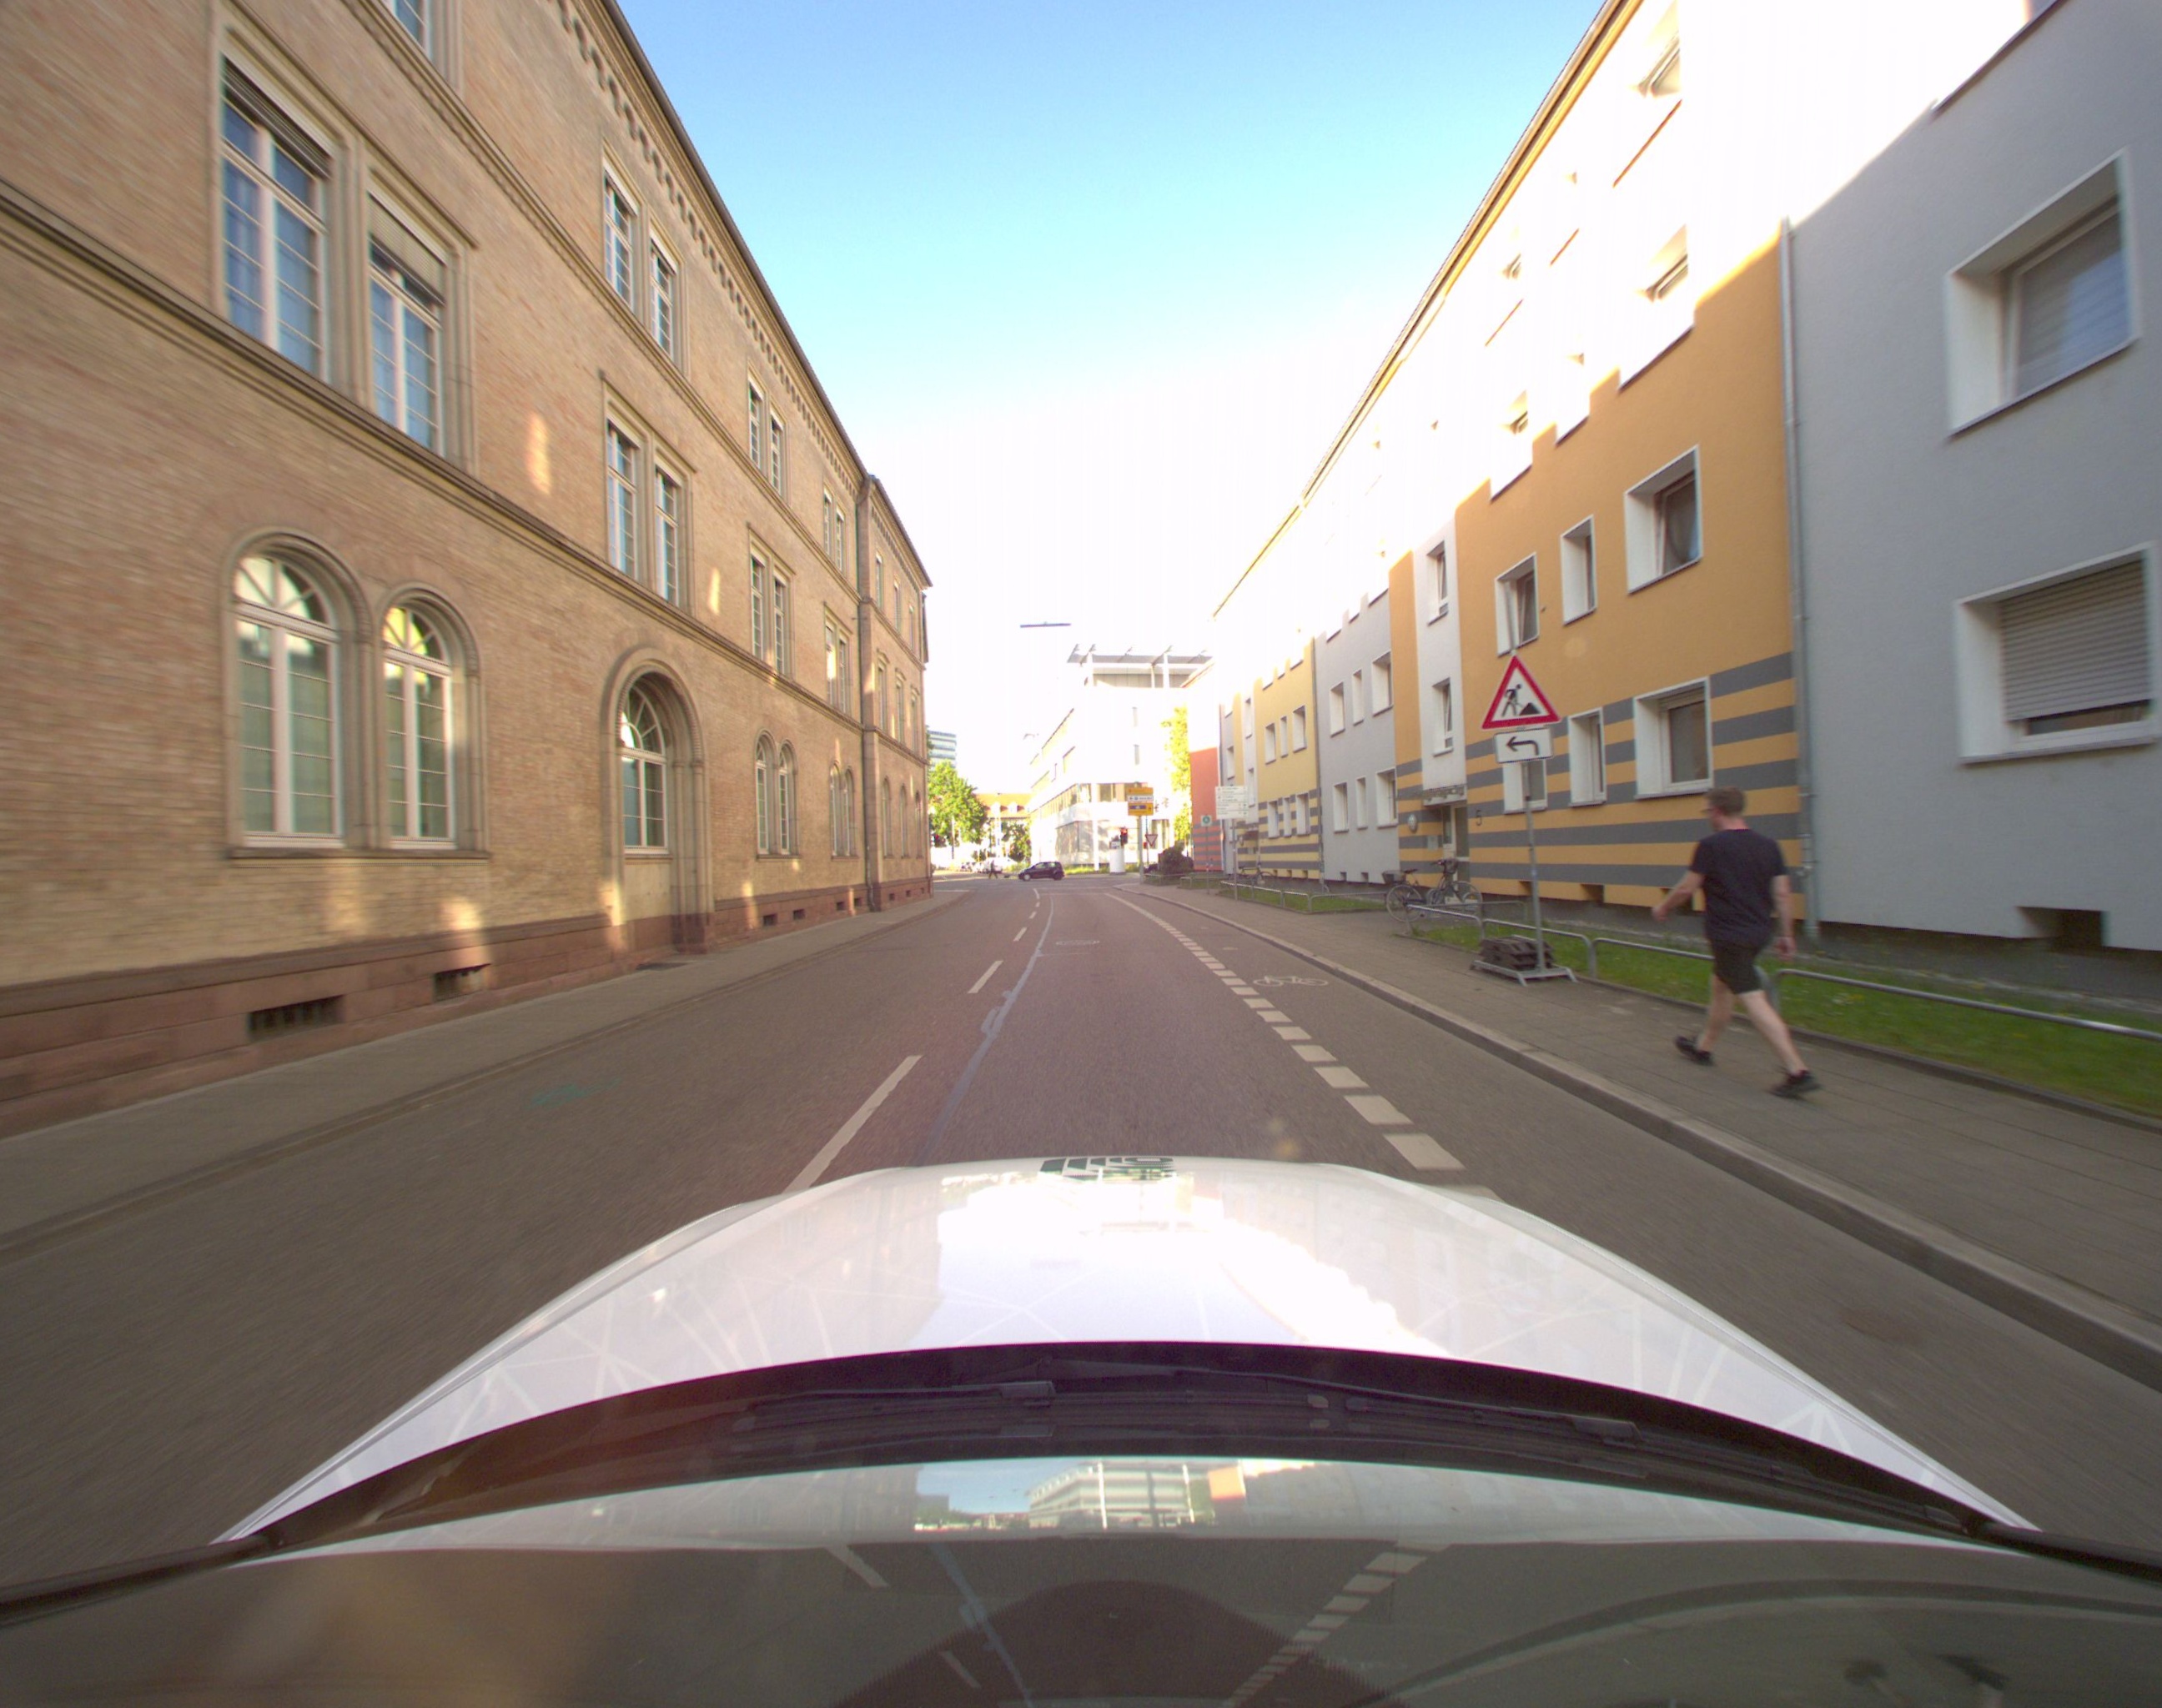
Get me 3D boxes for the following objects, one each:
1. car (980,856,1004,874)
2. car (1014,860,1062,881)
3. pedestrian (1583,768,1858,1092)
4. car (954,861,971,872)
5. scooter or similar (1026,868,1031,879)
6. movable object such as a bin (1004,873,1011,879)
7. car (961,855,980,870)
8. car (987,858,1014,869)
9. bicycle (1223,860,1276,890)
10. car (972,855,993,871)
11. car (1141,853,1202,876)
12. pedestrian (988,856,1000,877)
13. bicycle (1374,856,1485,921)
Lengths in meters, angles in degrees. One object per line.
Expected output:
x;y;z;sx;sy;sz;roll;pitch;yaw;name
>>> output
-10.797;1.374;98.355;2.425;2.112;5.212;0;-1;-11;car
-3.286;1.261;62.553;3.432;1.446;1.767;-1;-1;-12;car
3.935;0.424;5.142;0.694;1.760;1.189;-4;-1;2;pedestrian
-18.819;1.927;128.915;2.332;1.733;4.983;0;-1;-13;car
-5.122;1.904;79.907;0.325;1.059;1.138;-2;0;-10;scooter or similar
-6.489;1.962;72.201;0.590;0.480;0.285;-2;0;-15;movable object such as a bin
-16.242;1.231;119.034;2.332;2.112;4.983;0;-1;-13;car
-13.448;1.577;135.873;4.002;1.915;1.906;0;-1;-22;car
6.093;0.756;29.448;1.750;1.004;0.612;-3;-1;-4;bicycle
-13.325;1.222;109.723;2.332;2.112;4.983;0;-1;-13;car
7.128;0.789;64.402;4.367;1.633;1.993;-2;0;-11;car
-7.564;1.103;70.818;0.927;1.759;0.844;0;-1;-12;pedestrian
6.519;0.643;15.288;1.805;1.137;0.552;-2;-1;-1;bicycle
